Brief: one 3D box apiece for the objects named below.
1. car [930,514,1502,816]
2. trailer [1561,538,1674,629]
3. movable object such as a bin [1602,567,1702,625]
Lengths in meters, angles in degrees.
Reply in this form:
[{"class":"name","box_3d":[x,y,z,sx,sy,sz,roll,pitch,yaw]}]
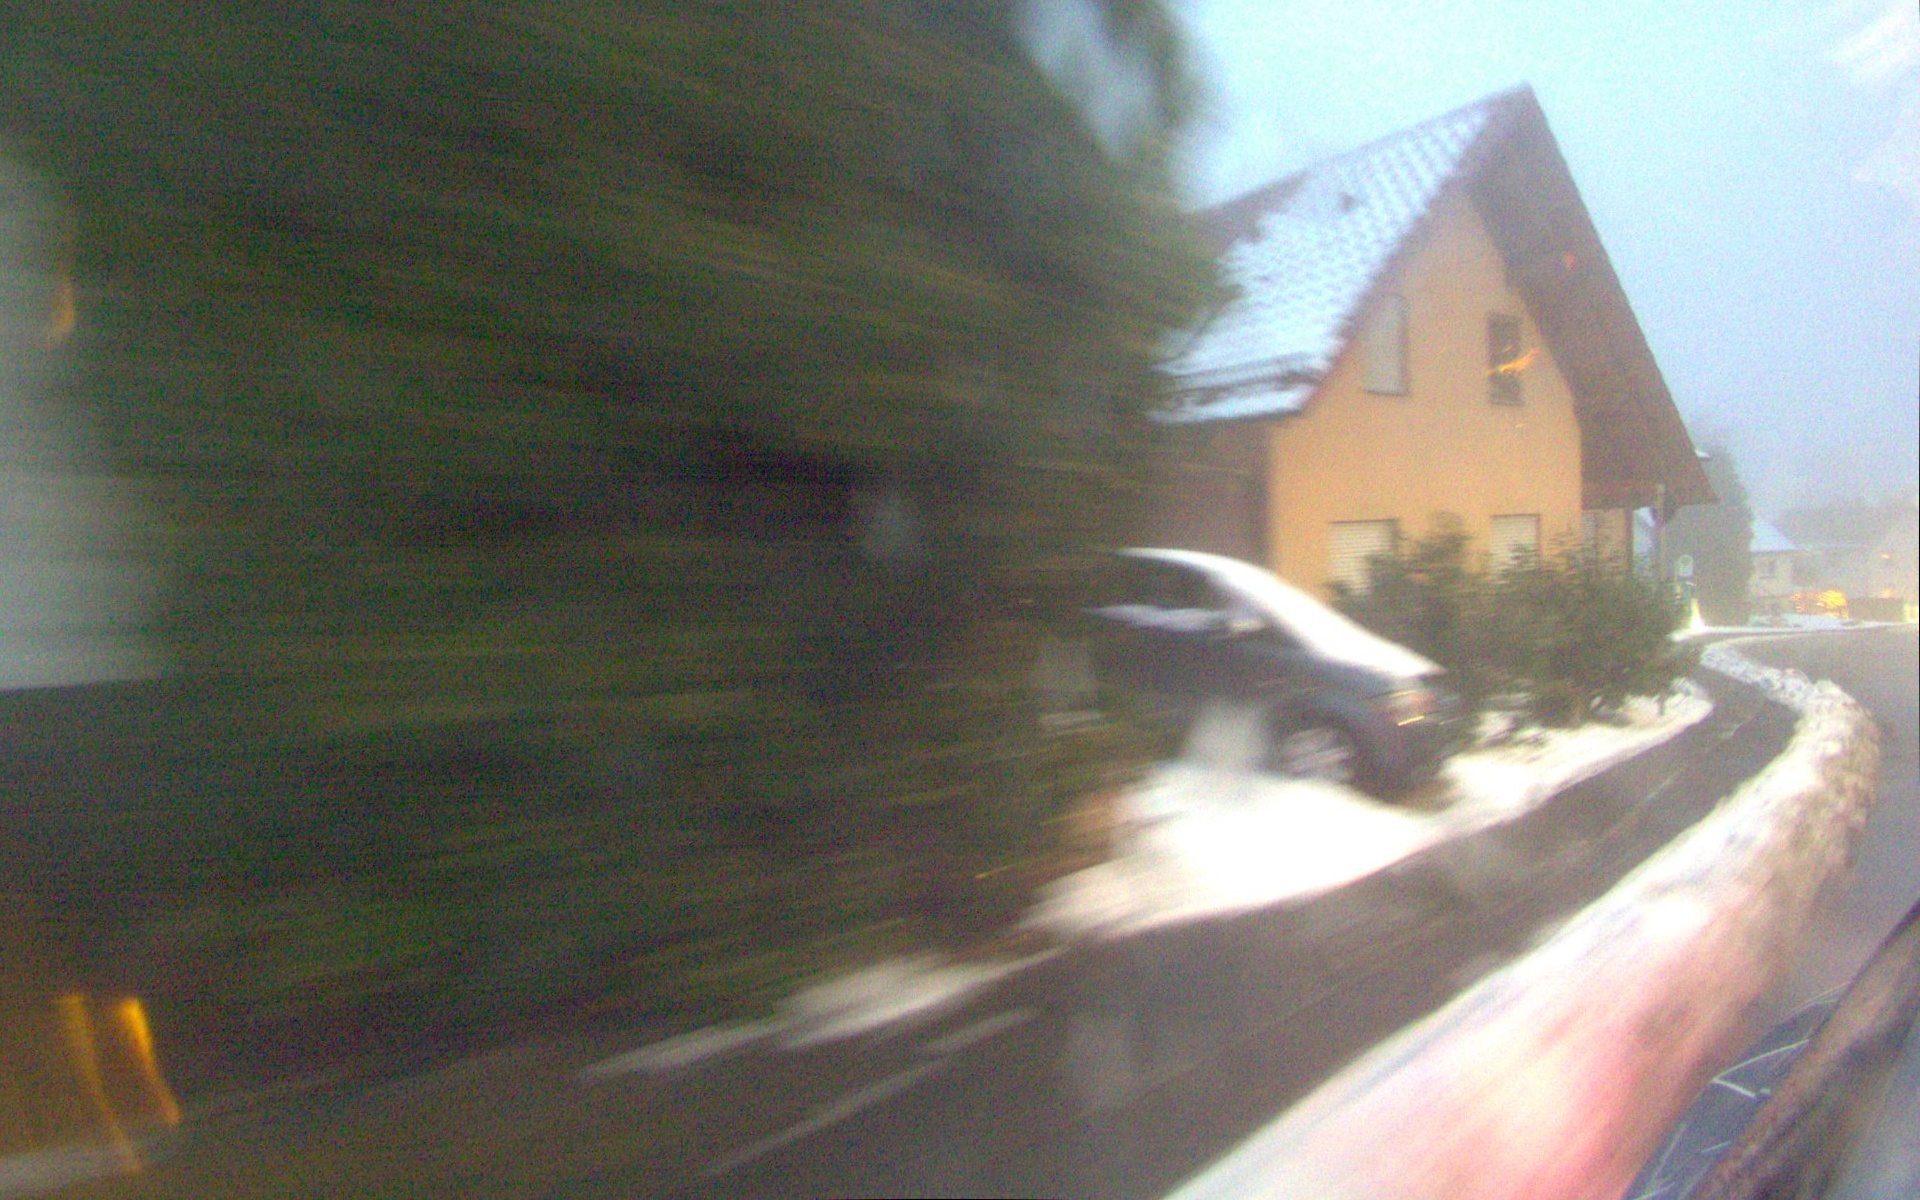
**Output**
[{"class":"car","box_3d":[1.926,0.275,8.045,3.974,1.710,1.823,6,5,33]},{"class":"trailer","box_3d":[27.776,-0.736,42.691,4.977,3.604,2.878,-1,2,-43]},{"class":"movable object such as a bin","box_3d":[31.228,-0.239,45.635,4.432,2.499,2.394,-1,2,-37]}]
